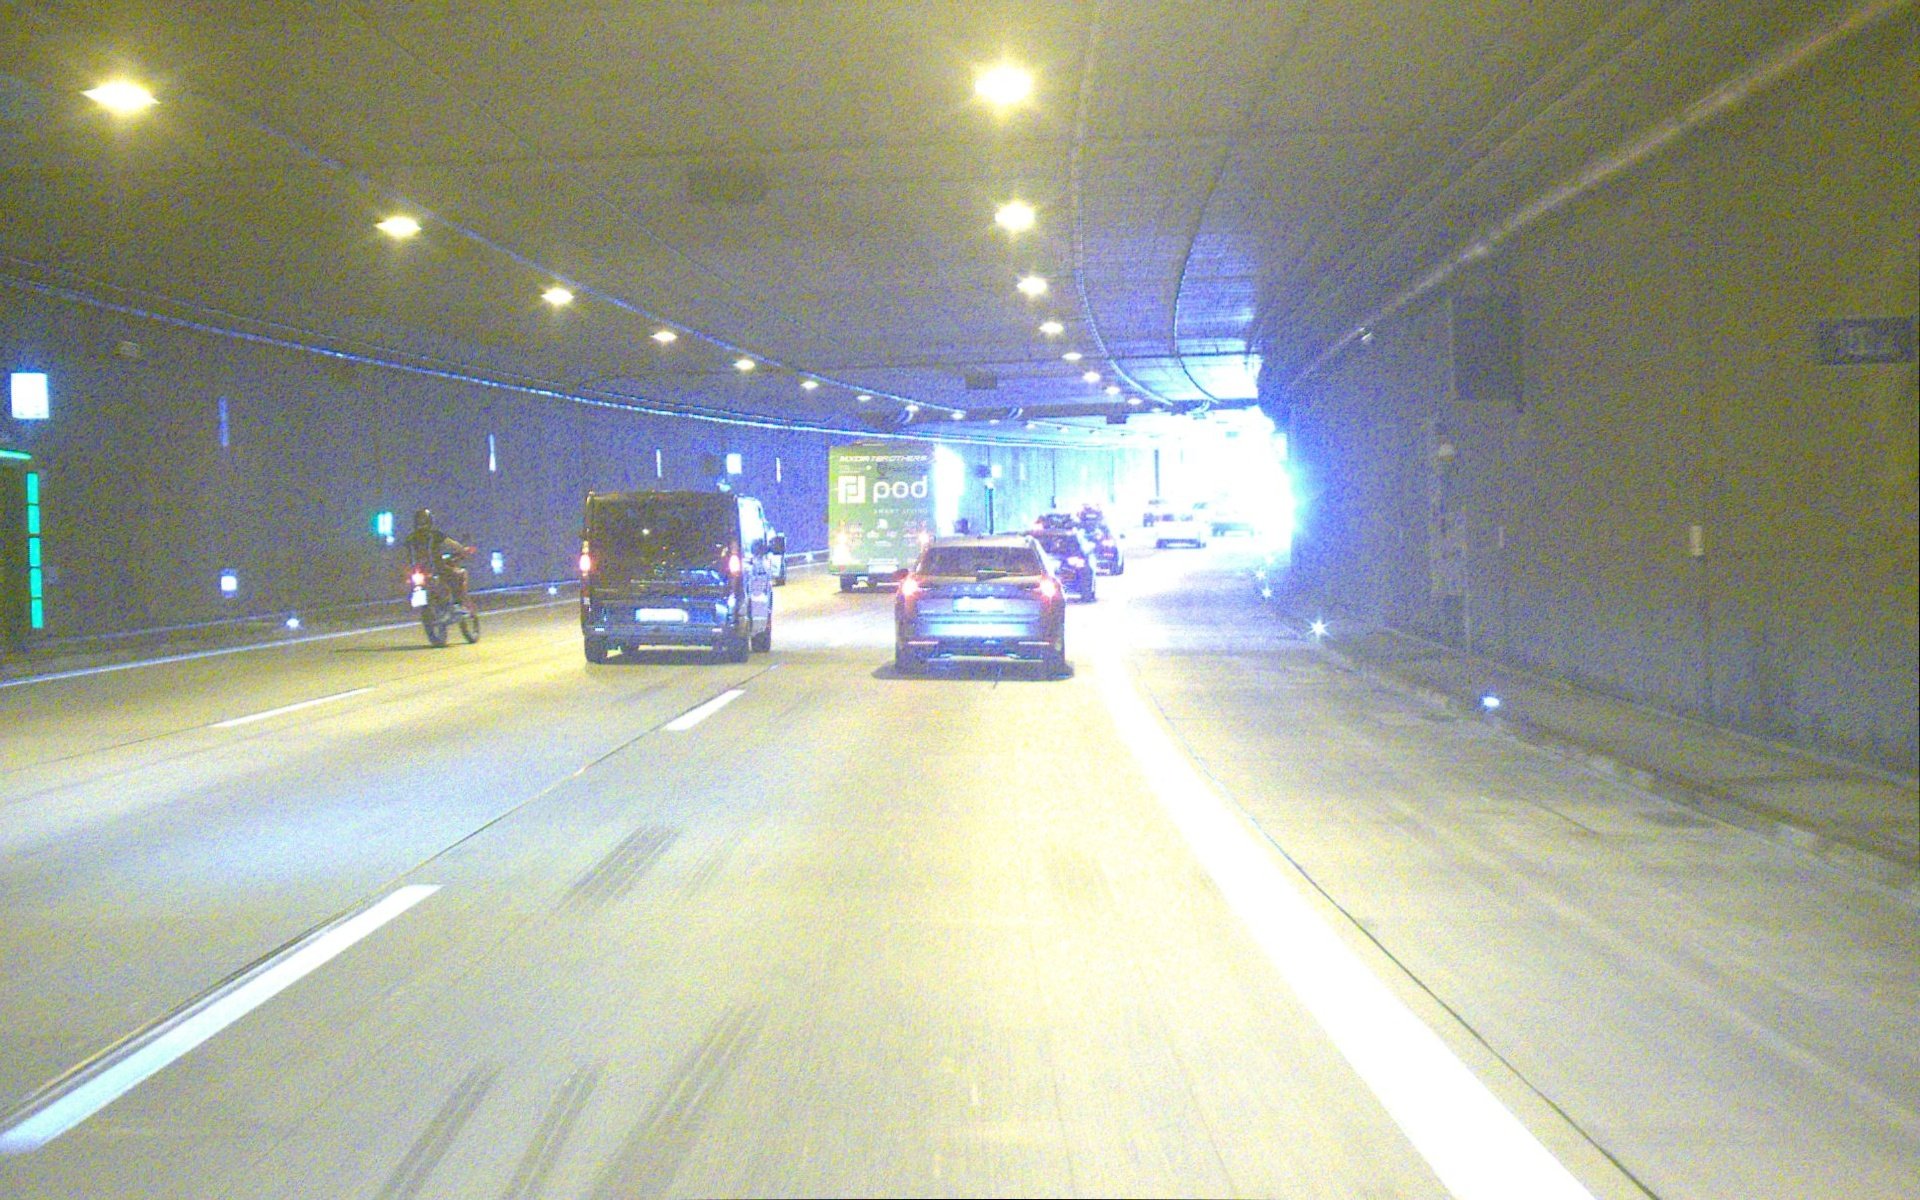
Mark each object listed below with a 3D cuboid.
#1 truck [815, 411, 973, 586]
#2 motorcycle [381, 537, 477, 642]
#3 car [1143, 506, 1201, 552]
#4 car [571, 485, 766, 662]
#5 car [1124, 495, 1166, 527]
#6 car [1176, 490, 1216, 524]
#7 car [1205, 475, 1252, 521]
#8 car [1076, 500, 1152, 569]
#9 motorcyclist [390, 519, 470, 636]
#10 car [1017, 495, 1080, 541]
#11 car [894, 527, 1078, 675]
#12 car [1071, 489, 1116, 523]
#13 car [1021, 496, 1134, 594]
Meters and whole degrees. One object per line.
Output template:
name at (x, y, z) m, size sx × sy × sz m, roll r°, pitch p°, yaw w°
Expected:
truck at (-1.380, -2.203, 76.057) m, size 3.039 × 3.660 × 7.392 m, roll 0°, pitch 1°, yaw 2°
motorcycle at (-6.677, -0.130, 43.320) m, size 0.683 × 1.292 × 2.398 m, roll 0°, pitch 0°, yaw 4°
car at (8.117, -2.700, 131.835) m, size 1.930 × 1.637 × 4.000 m, roll 0°, pitch 0°, yaw -1°
car at (-3.325, -0.359, 39.868) m, size 1.909 × 1.937 × 3.871 m, roll 0°, pitch 2°, yaw 0°
car at (10.239, -4.919, 190.121) m, size 1.931 × 1.637 × 3.998 m, roll 0°, pitch 0°, yaw 9°
car at (12.031, -4.732, 175.169) m, size 1.994 × 1.626 × 3.999 m, roll 0°, pitch 0°, yaw 5°
car at (12.397, -4.696, 158.810) m, size 1.993 × 2.007 × 4.000 m, roll 0°, pitch 0°, yaw 2°
car at (4.123, -1.740, 92.511) m, size 1.950 × 1.766 × 4.000 m, roll 0°, pitch 0°, yaw 1°
motorcyclist at (-6.668, -0.279, 43.302) m, size 0.777 × 1.447 × 1.068 m, roll 0°, pitch -1°, yaw 5°
car at (3.256, -2.998, 126.149) m, size 1.994 × 1.626 × 3.999 m, roll 0°, pitch 0°, yaw 6°
car at (0.331, -0.026, 37.233) m, size 1.742 × 1.459 × 3.871 m, roll 0°, pitch 2°, yaw 4°
car at (6.542, -4.567, 167.932) m, size 1.931 × 1.637 × 3.999 m, roll 0°, pitch 1°, yaw 6°
car at (2.334, -1.082, 67.358) m, size 1.857 × 1.848 × 3.999 m, roll 0°, pitch 1°, yaw 7°
